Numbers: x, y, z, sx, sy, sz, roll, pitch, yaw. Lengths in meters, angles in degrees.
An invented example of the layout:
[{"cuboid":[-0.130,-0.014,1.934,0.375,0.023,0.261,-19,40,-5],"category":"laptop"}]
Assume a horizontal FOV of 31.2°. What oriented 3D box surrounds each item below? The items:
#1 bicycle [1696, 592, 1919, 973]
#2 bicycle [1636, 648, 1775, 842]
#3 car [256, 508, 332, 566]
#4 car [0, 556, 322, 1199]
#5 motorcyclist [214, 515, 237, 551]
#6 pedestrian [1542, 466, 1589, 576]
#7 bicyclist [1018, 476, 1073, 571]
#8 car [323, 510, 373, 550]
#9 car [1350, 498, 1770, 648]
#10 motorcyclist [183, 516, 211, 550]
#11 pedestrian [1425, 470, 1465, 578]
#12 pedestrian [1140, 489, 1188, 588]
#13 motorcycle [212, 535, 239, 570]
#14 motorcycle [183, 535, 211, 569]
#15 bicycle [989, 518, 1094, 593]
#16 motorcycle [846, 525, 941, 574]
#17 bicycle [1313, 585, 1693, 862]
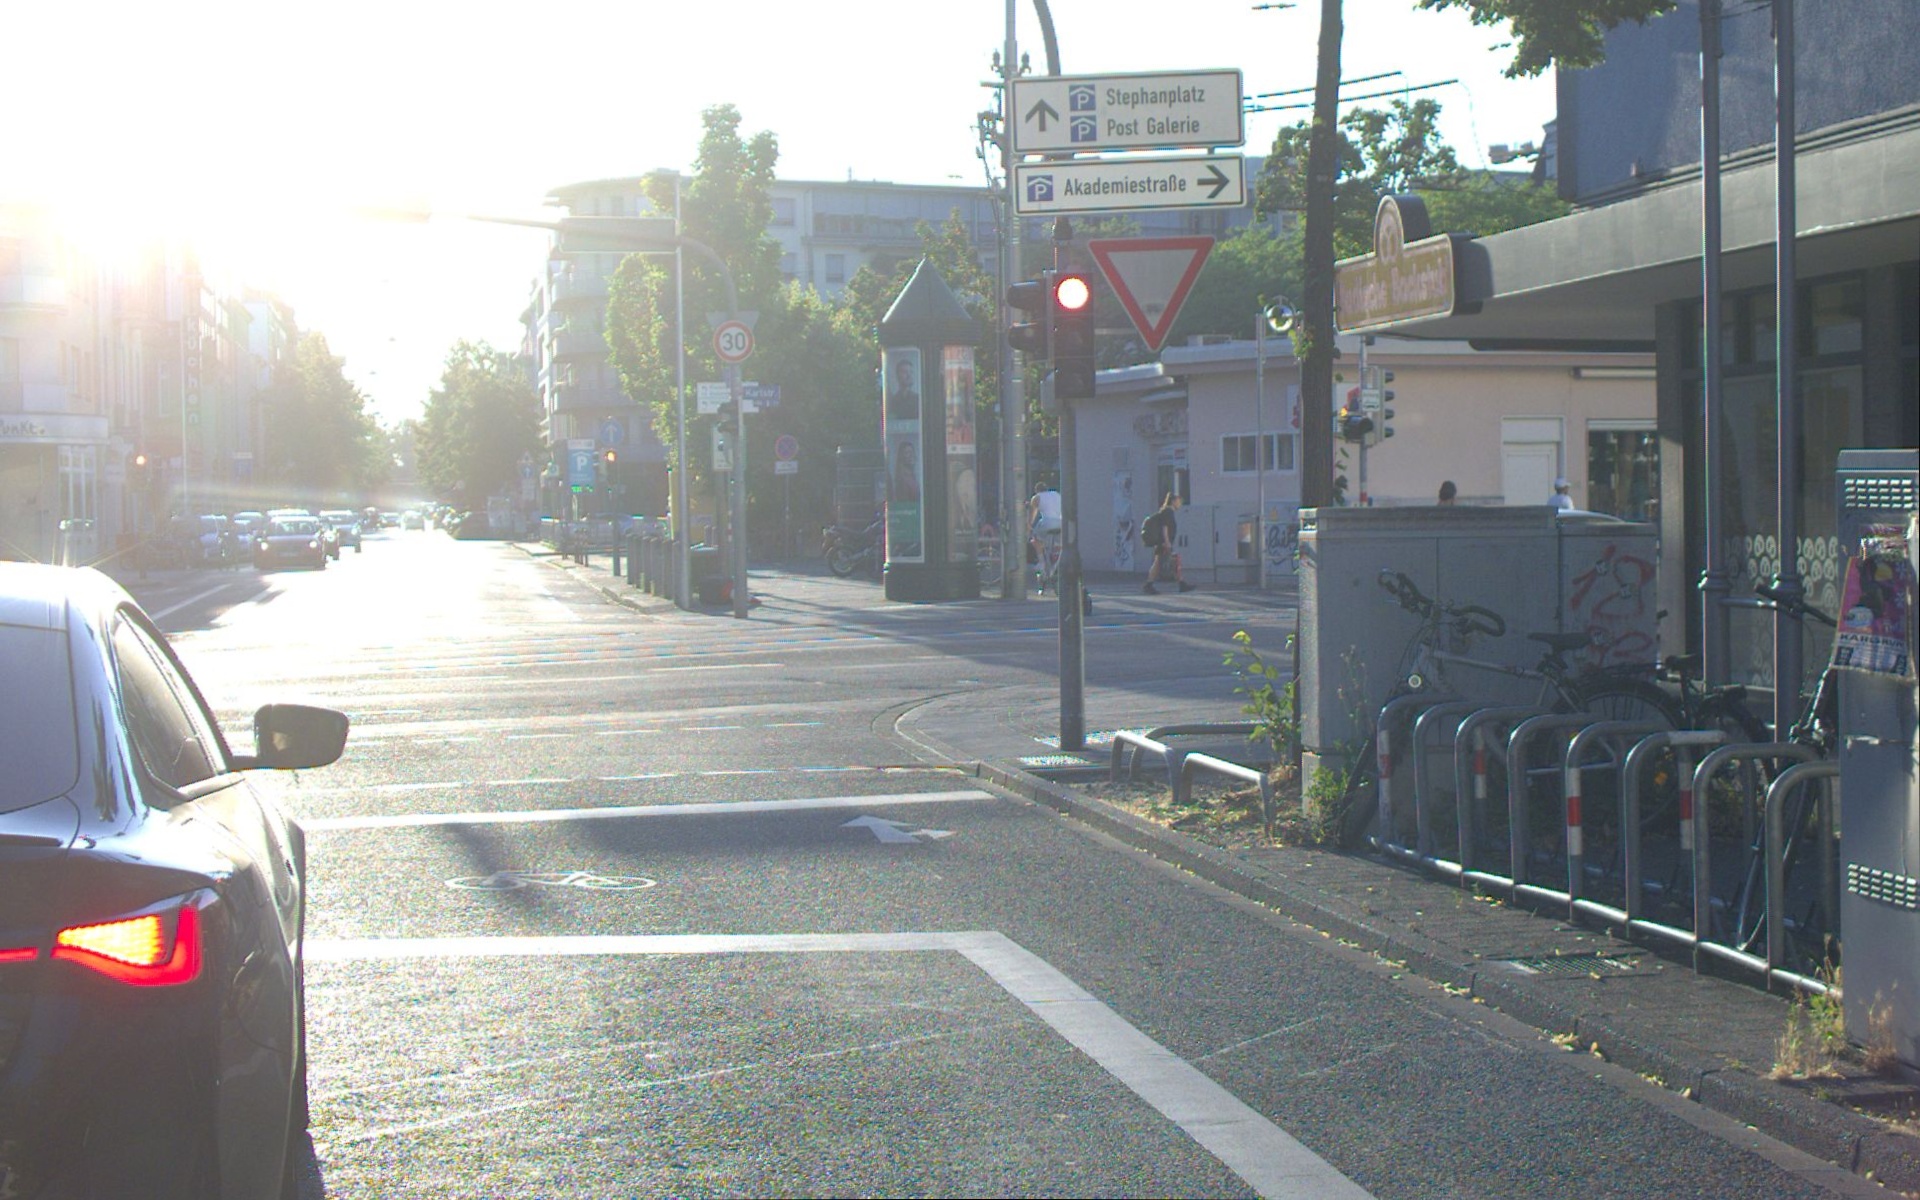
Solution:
[{"cuboid":[3.188,0.592,11.282,1.440,1.216,0.383,1,1,-7],"category":"bicycle"},{"cuboid":[3.326,0.634,15.389,0.249,0.793,1.116,1,1,-7],"category":"bicycle"},{"cuboid":[-18.315,-1.745,94.657,1.817,1.514,4.001,-1,2,-8],"category":"car"},{"cuboid":[-2.118,0.655,6.473,1.736,1.424,4.225,0,1,-10],"category":"car"},{"cuboid":[-20.005,-1.829,93.638,0.575,0.992,0.703,1,1,-8],"category":"motorcyclist"},{"cuboid":[9.657,-1.259,54.839,0.478,1.729,0.531,0,1,-33],"category":"pedestrian"},{"cuboid":[1.344,-1.200,54.002,0.550,1.476,0.722,0,1,-32],"category":"bicyclist"},{"cuboid":[-24.388,-2.815,137.143,1.817,1.514,4.001,-1,2,-8],"category":"car"},{"cuboid":[6.563,-0.334,37.466,4.307,1.493,2.000,-2,2,-34],"category":"car"},{"cuboid":[-20.895,-1.852,94.143,0.575,0.912,2.201,1,1,-8],"category":"motorcyclist"},{"cuboid":[7.821,-1.226,55.475,0.442,1.729,0.434,0,1,-33],"category":"pedestrian"},{"cuboid":[3.186,-0.961,53.741,0.733,1.523,0.472,1,1,4],"category":"pedestrian"},{"cuboid":[-20.029,-1.302,93.748,0.575,0.912,2.201,1,1,-8],"category":"motorcycle"},{"cuboid":[-20.897,-1.322,94.133,0.575,0.912,2.201,1,1,-8],"category":"motorcycle"},{"cuboid":[1.267,-0.710,54.127,0.550,1.155,2.144,0,1,-32],"category":"bicycle"},{"cuboid":[-1.318,-1.002,67.854,1.668,0.935,0.856,-1,2,-19],"category":"motorcycle"},{"cuboid":[2.389,0.534,15.151,1.612,1.167,0.318,-1,2,-6],"category":"bicycle"}]
